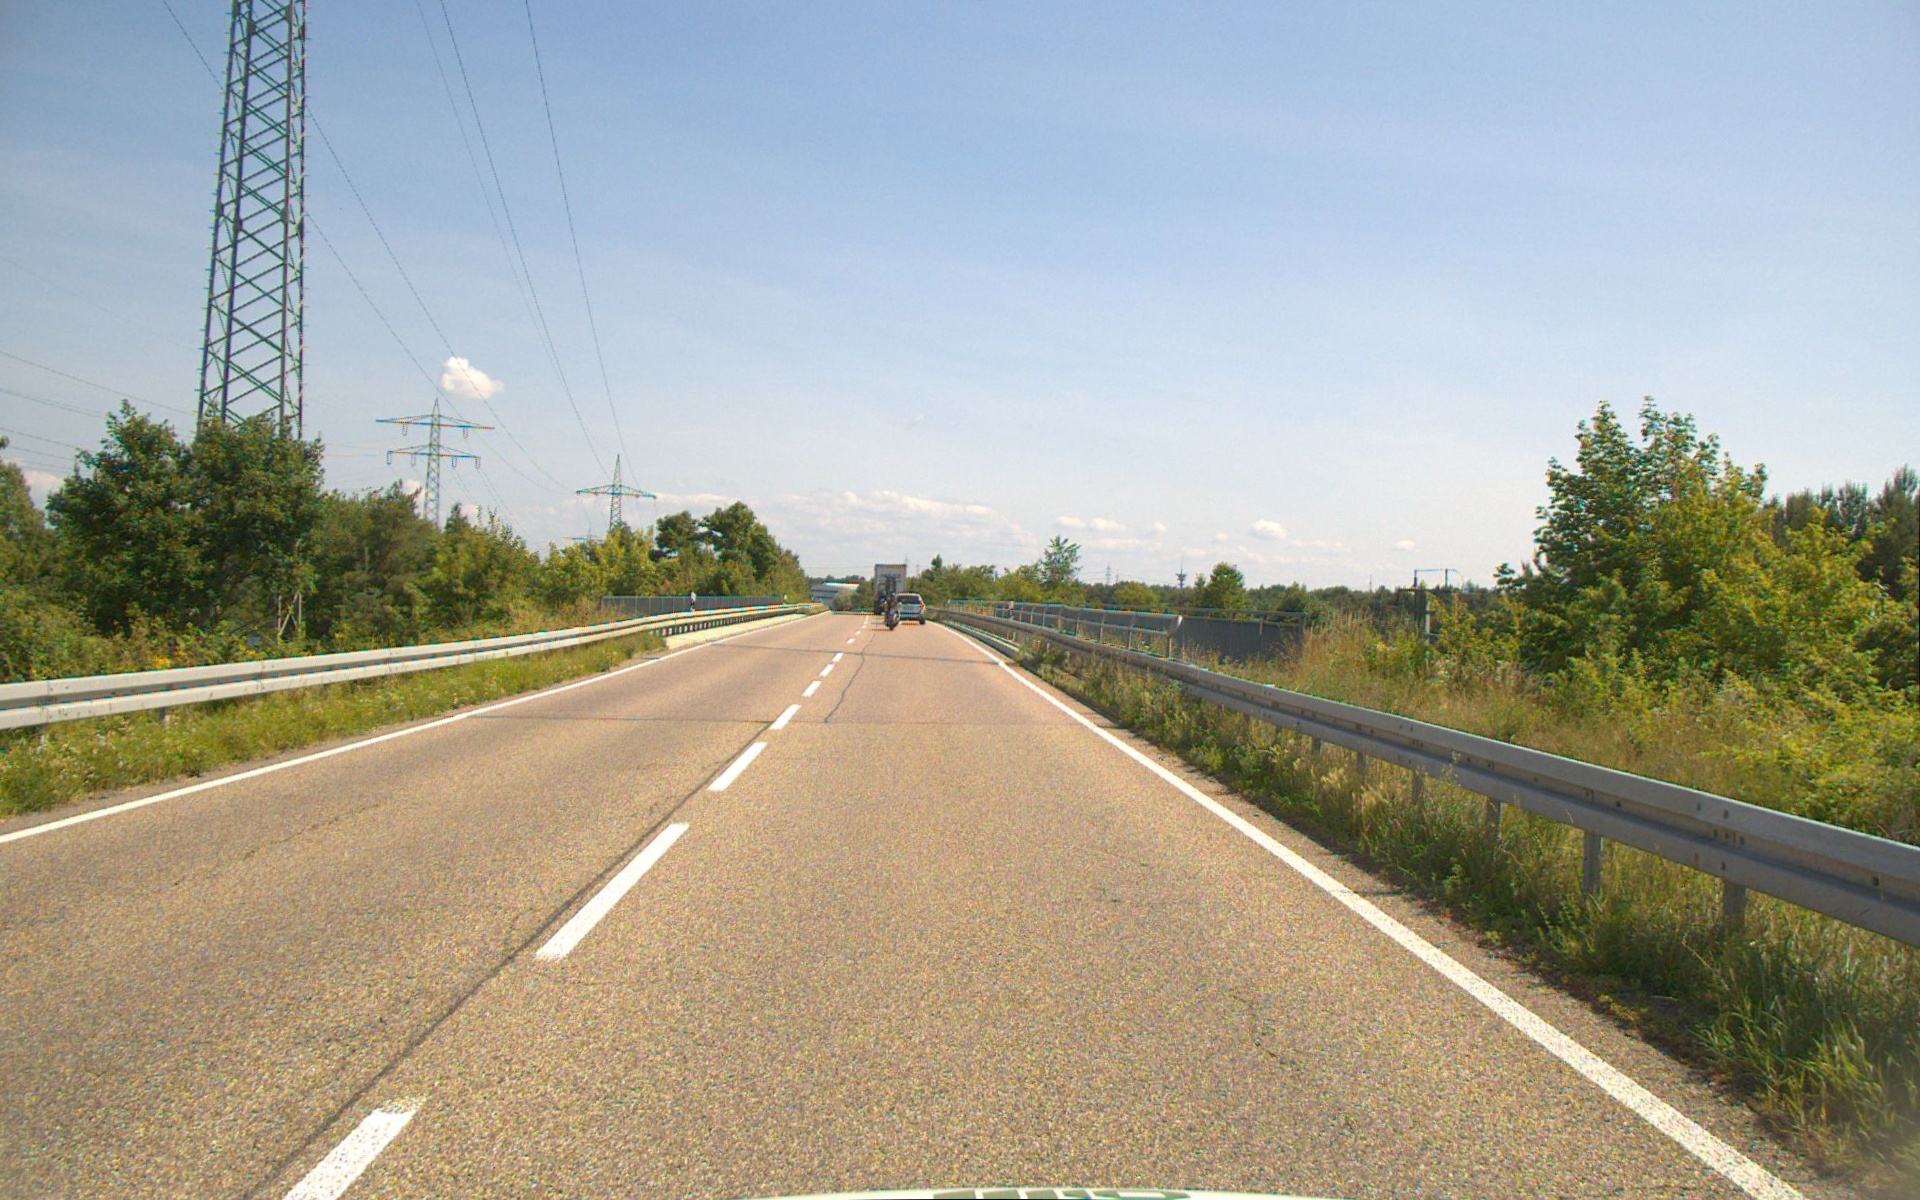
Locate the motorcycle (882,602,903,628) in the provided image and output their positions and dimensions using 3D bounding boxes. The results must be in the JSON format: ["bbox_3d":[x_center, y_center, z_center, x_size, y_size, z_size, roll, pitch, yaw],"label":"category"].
[{"bbox_3d":[-2.777,0.615,68.135,0.764,0.992,2.361,1,1,-1],"label":"motorcycle"}]

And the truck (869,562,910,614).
[{"bbox_3d":[-5.812,-0.985,138.062,3.176,4.048,9.440,2,0,-2],"label":"truck"}]

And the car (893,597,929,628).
[{"bbox_3d":[-2.522,0.608,85.298,1.788,1.477,3.999,2,1,-2],"label":"car"}]

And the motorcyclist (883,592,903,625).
[{"bbox_3d":[-2.760,0.338,68.154,0.764,1.348,0.813,1,0,-1],"label":"motorcyclist"}]

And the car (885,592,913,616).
[{"bbox_3d":[-4.079,0.253,111.183,1.828,1.445,3.999,2,0,-1],"label":"car"}]
